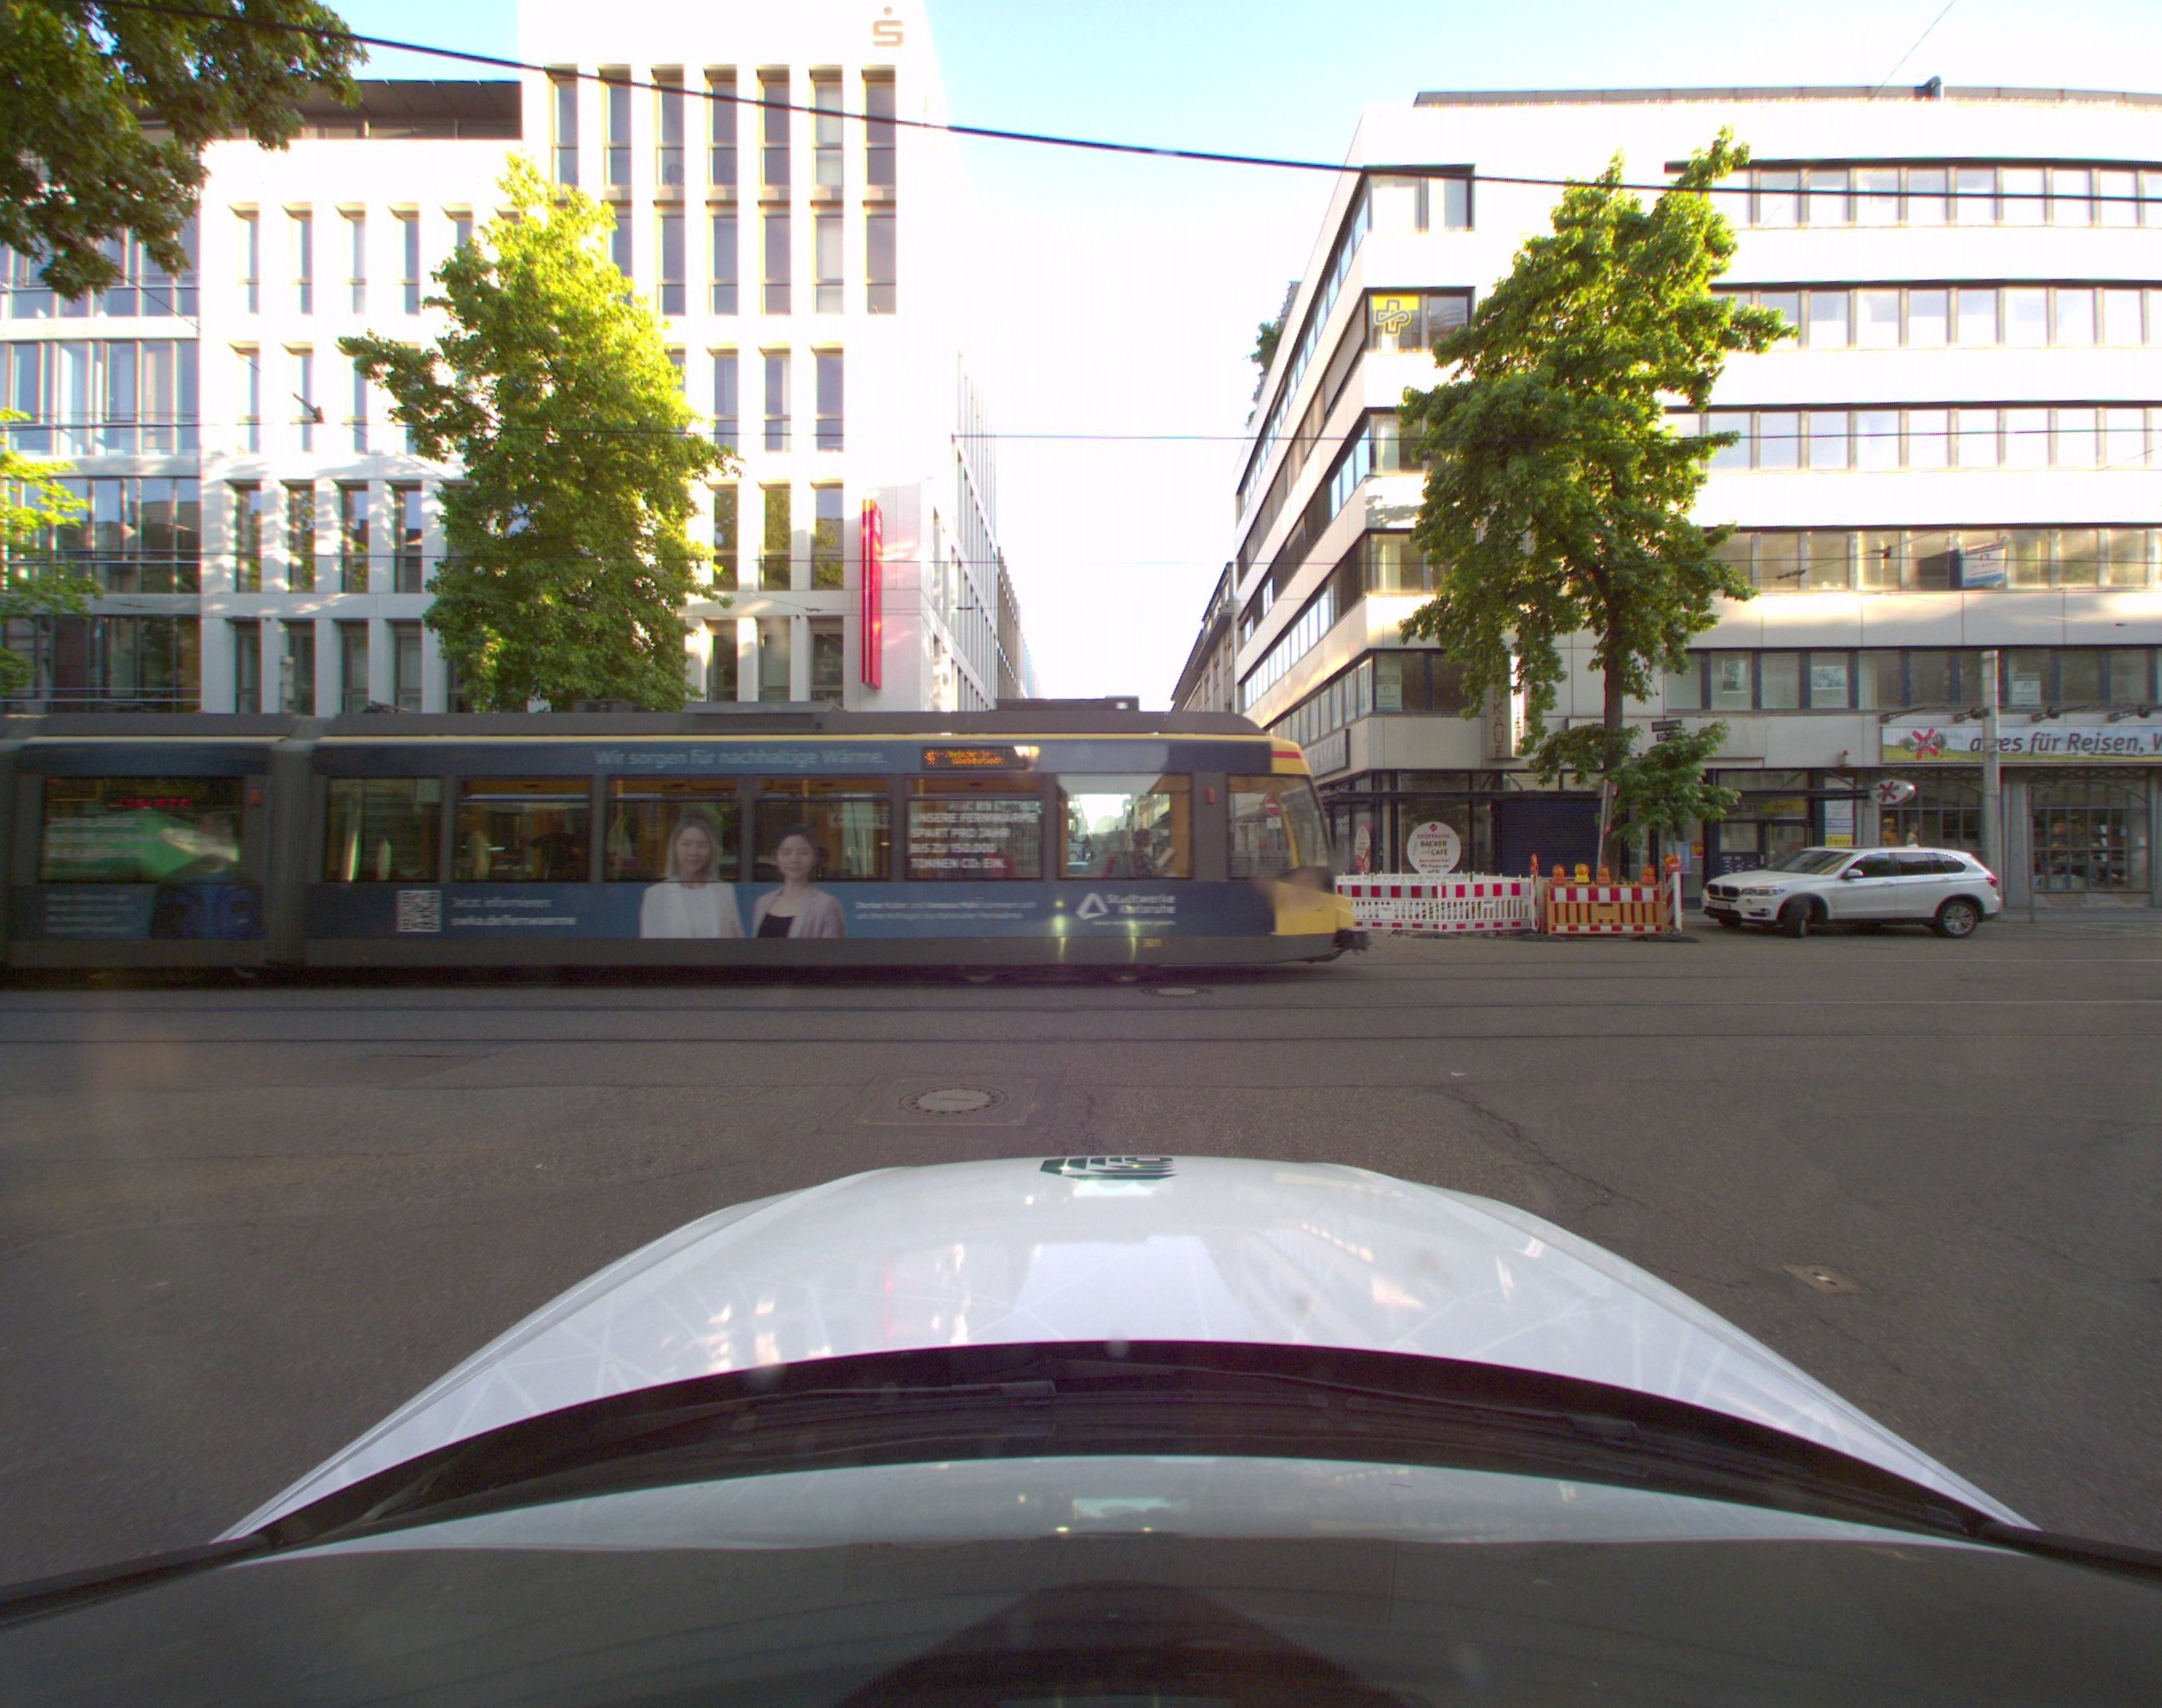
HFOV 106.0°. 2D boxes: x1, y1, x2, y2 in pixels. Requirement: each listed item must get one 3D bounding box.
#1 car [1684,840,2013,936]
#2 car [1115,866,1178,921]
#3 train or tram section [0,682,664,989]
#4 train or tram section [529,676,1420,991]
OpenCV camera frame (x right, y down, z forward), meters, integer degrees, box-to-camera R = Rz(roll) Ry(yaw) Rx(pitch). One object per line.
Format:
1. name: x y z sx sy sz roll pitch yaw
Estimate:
1. car: 15.230 0.616 16.400 4.636 1.770 2.002 0 2 2
2. car: 2.134 1.253 27.163 1.889 1.612 4.155 -1 -1 3
3. train or tram section: -11.593 -0.177 10.982 10.332 3.524 3.017 -1 -1 0
4. train or tram section: -1.224 -0.231 10.948 10.301 3.524 3.026 -1 -1 0
